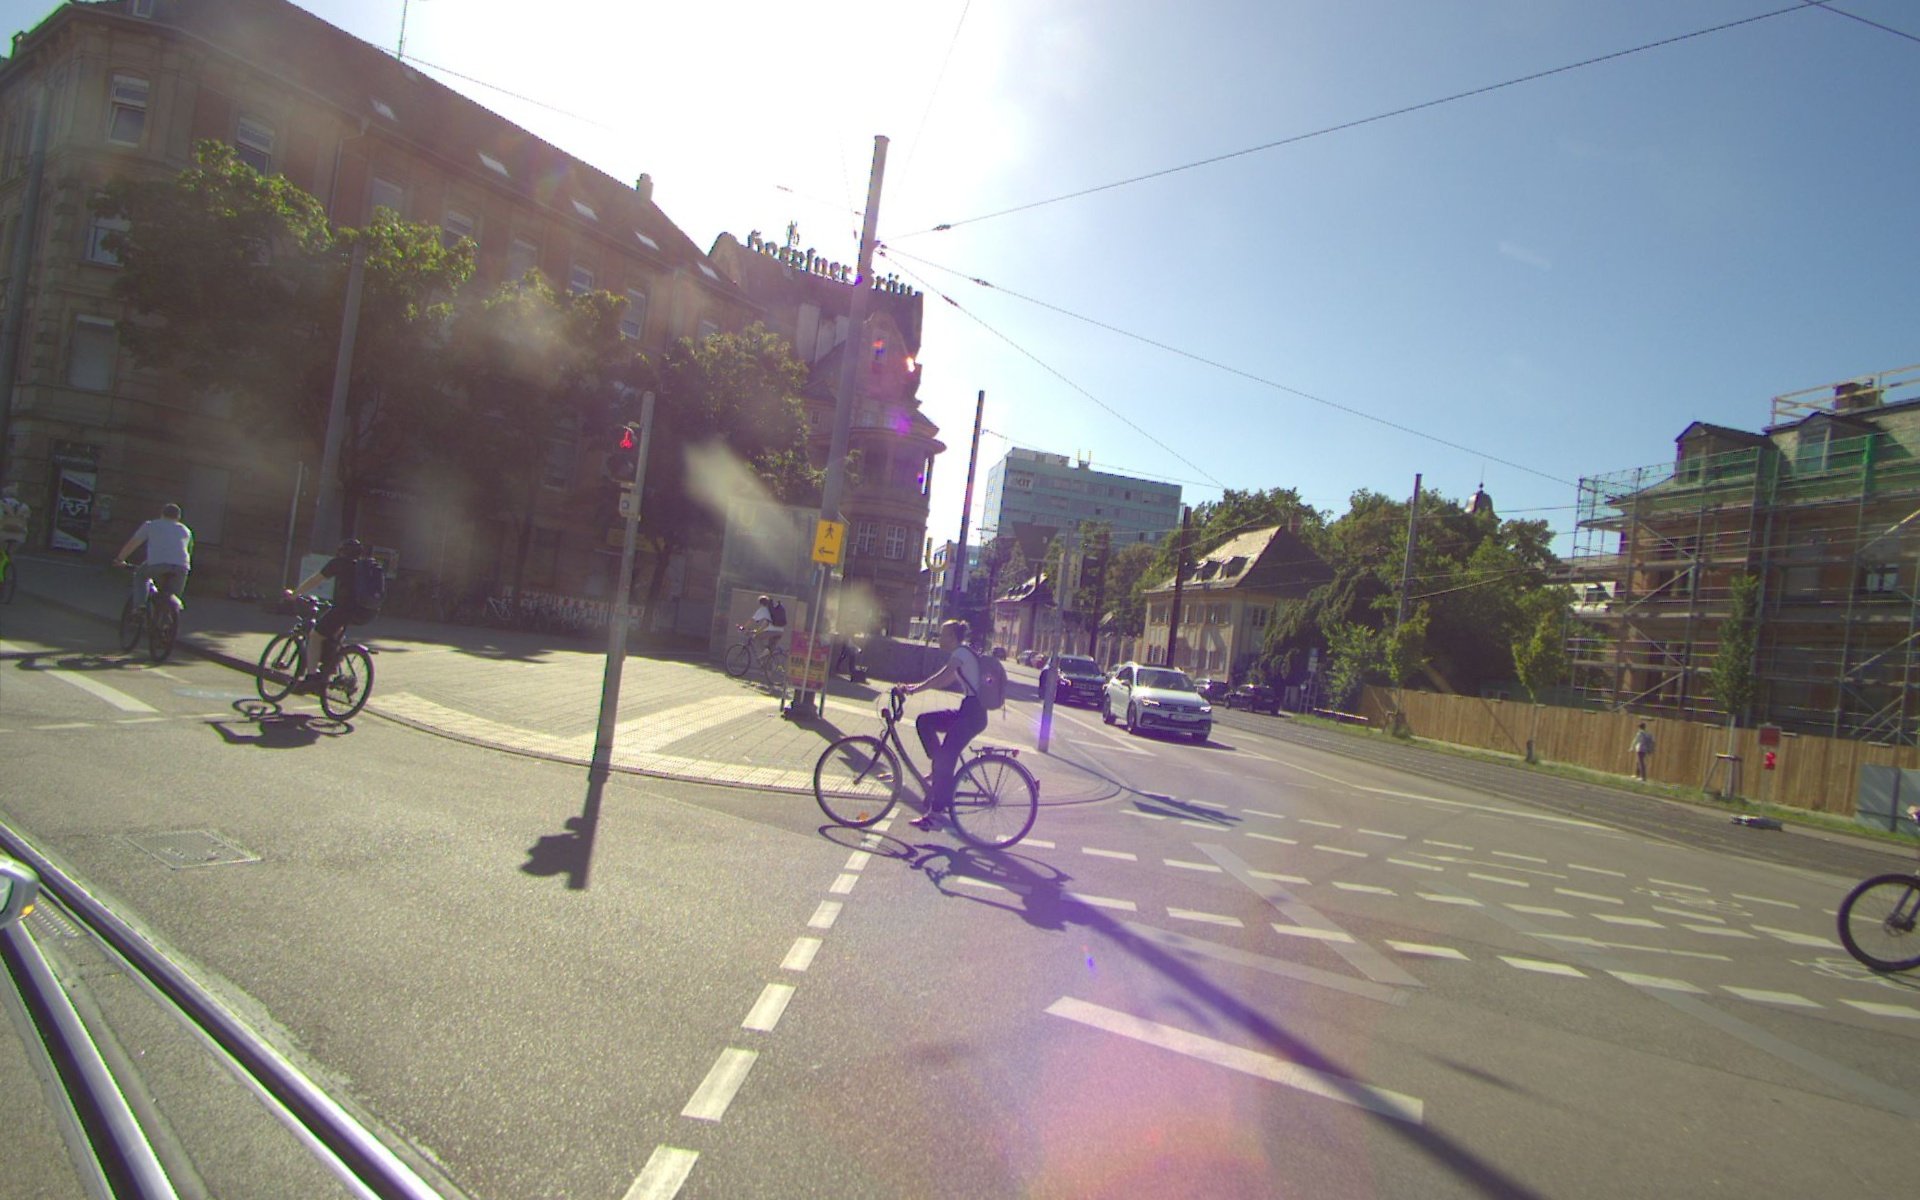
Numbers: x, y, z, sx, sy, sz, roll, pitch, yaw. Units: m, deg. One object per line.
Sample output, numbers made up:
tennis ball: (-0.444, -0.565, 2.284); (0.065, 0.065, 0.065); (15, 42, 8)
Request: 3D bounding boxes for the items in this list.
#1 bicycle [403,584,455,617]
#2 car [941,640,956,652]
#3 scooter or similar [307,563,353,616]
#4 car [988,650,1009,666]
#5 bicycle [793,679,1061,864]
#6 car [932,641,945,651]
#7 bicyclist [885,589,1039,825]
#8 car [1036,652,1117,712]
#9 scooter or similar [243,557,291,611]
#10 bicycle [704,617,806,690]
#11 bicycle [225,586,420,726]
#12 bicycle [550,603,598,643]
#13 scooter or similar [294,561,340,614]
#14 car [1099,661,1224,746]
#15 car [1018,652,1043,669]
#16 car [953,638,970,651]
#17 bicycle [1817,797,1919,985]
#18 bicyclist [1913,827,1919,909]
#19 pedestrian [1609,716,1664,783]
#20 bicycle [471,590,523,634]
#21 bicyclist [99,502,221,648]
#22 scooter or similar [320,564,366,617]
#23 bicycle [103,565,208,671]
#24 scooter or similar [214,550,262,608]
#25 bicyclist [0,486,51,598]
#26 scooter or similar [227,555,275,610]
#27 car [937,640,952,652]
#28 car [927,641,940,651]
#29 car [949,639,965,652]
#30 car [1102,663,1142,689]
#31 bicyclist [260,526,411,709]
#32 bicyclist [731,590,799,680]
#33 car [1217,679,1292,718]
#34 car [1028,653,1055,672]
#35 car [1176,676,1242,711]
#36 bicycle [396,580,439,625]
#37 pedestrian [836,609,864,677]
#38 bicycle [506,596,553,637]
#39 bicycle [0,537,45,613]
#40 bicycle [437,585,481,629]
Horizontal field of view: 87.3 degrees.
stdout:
bicycle: (-17.763, 0.023, 33.682); (0.399, 0.865, 1.417); (5, -4, 42)
car: (-1.870, 7.479, 164.405); (1.885, 1.639, 3.820); (7, -3, -7)
scooter or similar: (-15.736, -0.272, 25.123); (1.541, 1.198, 0.270); (5, -3, 36)
car: (4.836, 7.221, 125.687); (1.885, 1.639, 3.820); (7, -3, -7)
bicycle: (-0.229, 1.289, 7.752); (1.897, 1.130, 0.534); (6, -3, 5)
car: (-3.790, 8.084, 176.792); (1.885, 1.639, 3.820); (7, -3, -7)
bicyclist: (0.035, 0.807, 7.752); (0.935, 1.631, 0.553); (7, -3, 6)
car: (3.906, 2.735, 34.431); (1.884, 1.705, 4.254); (6, -3, -3)
scooter or similar: (-16.698, -0.390, 24.212); (1.677, 1.175, 0.270); (5, -3, 36)
bicycle: (-4.076, 1.061, 19.962); (1.900, 1.129, 0.533); (8, -2, 27)
bicycle: (-6.260, 0.531, 9.858); (1.899, 1.130, 0.533); (6, -2, 23)
bicycle: (-11.947, 0.708, 31.123); (1.437, 1.073, 0.404); (6, -3, 29)
scooter or similar: (-15.906, -0.315, 24.858); (1.541, 1.198, 0.270); (5, -3, 36)
car: (4.827, 2.454, 24.761); (1.884, 1.639, 4.254); (6, -3, -3)
car: (7.596, 6.551, 109.042); (1.885, 1.639, 3.820); (7, -3, -7)
car: (0.228, 6.585, 149.272); (1.885, 1.639, 3.820); (7, -3, -7)
bicycle: (7.201, 2.109, 6.956); (1.830, 1.171, 0.534); (6, -3, 14)
bicyclist: (7.471, 1.561, 6.933); (1.016, 1.436, 0.677); (7, -3, 13)
pedestrian: (22.523, 4.968, 33.517); (0.851, 2.035, 1.086); (8, -3, -13)
bicycle: (-13.347, 0.348, 28.976); (1.327, 1.073, 0.405); (7, -3, 20)
bicyclist: (-9.658, -0.297, 12.154); (0.872, 1.611, 0.783); (6, -1, 35)
scooter or similar: (-15.596, -0.247, 25.430); (1.541, 1.209, 0.270); (5, -3, 36)
bicycle: (-9.787, 0.197, 12.212); (1.903, 1.081, 0.386); (6, -2, 35)
scooter or similar: (-17.000, -0.503, 23.671); (1.677, 1.232, 0.270); (5, -3, 36)
bicyclist: (-15.545, -0.964, 16.349); (1.102, 1.701, 0.682); (6, -3, 33)
scooter or similar: (-16.864, -0.433, 23.930); (1.677, 1.169, 0.270); (5, -3, 36)
car: (-2.582, 7.752, 169.616); (1.885, 1.639, 3.820); (7, -3, -7)
car: (-4.851, 8.302, 182.047); (1.885, 1.639, 3.820); (7, -3, -7)
car: (-0.449, 6.960, 154.141); (1.885, 1.639, 3.820); (7, -3, -7)
car: (12.413, 5.794, 77.312); (1.885, 1.639, 3.820); (7, -3, -7)
bicyclist: (-6.092, 0.173, 9.825); (0.963, 1.631, 0.626); (6, -3, 24)
bicyclist: (-3.841, 0.683, 19.843); (0.936, 1.631, 0.600); (6, -3, 26)
car: (16.006, 5.344, 54.901); (1.970, 1.590, 3.992); (9, -4, -15)
car: (8.249, 6.338, 102.081); (1.885, 1.639, 3.820); (7, -3, -7)
car: (14.971, 5.629, 60.731); (1.970, 1.635, 3.992); (9, -4, -15)
bicycle: (-14.606, 0.046, 27.074); (1.462, 1.073, 0.403); (5, -4, 41)
pedestrian: (-3.161, 1.239, 28.794); (0.538, 1.869, 0.650); (8, -3, -7)
bicycle: (-13.007, 0.499, 30.391); (1.438, 1.073, 0.404); (6, -3, 32)
bicycle: (-15.698, -0.466, 16.393); (1.902, 1.129, 0.533); (5, -4, 32)
bicycle: (-13.998, 0.191, 28.094); (1.331, 1.073, 0.404); (5, -3, 36)
